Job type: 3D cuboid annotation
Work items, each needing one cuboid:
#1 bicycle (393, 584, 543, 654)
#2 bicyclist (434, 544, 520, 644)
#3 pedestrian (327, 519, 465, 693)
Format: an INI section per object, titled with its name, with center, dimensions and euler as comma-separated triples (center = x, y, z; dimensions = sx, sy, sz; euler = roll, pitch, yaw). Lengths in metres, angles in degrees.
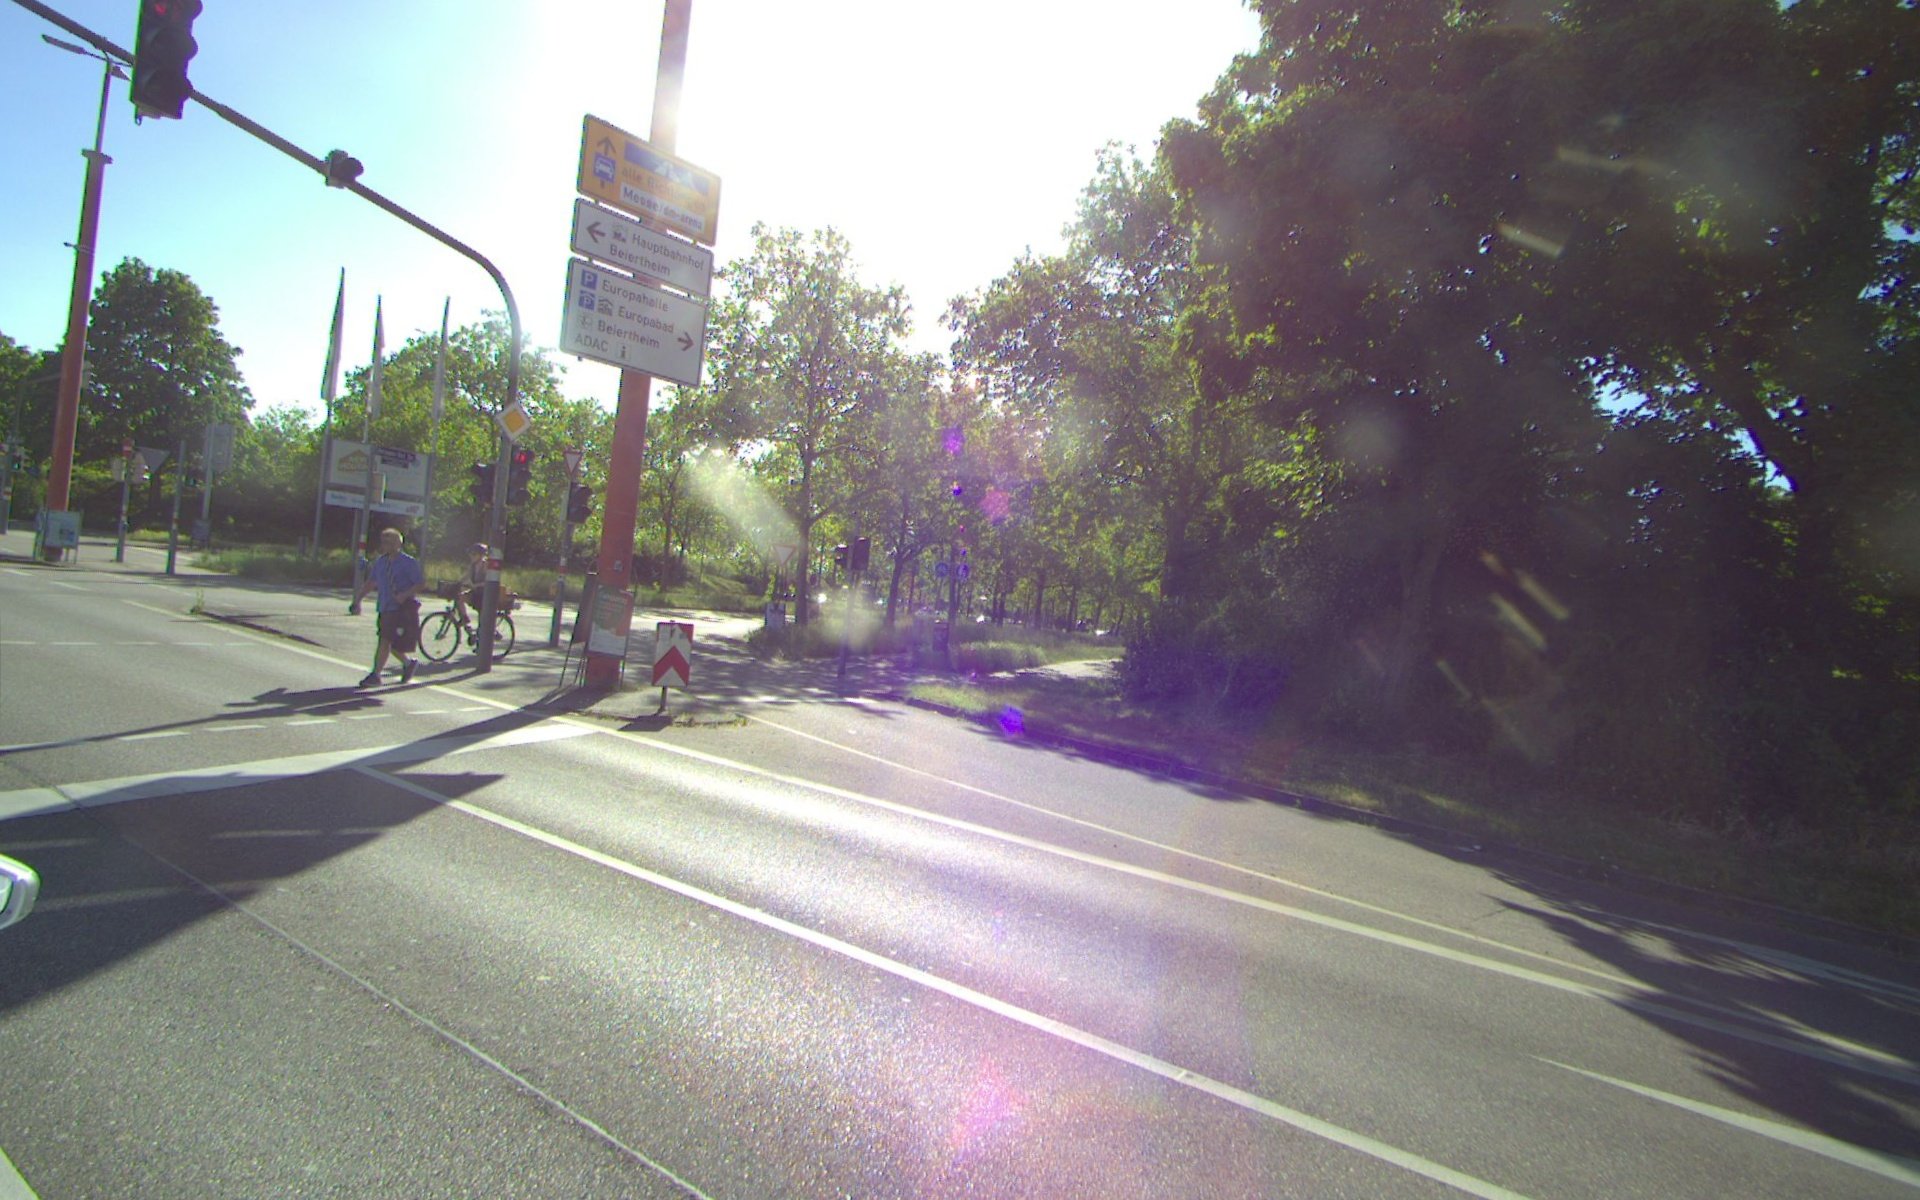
[bicycle]
center = -7.193, 0.318, 14.854
dimensions = 0.549, 0.889, 2.169
euler = 7, -1, 19
[bicyclist]
center = -7.129, -0.076, 14.878
dimensions = 0.695, 1.358, 0.742
euler = 7, 0, 21
[pedestrian]
center = -6.419, 0.076, 11.513
dimensions = 0.884, 1.810, 0.894
euler = 7, 0, -1
